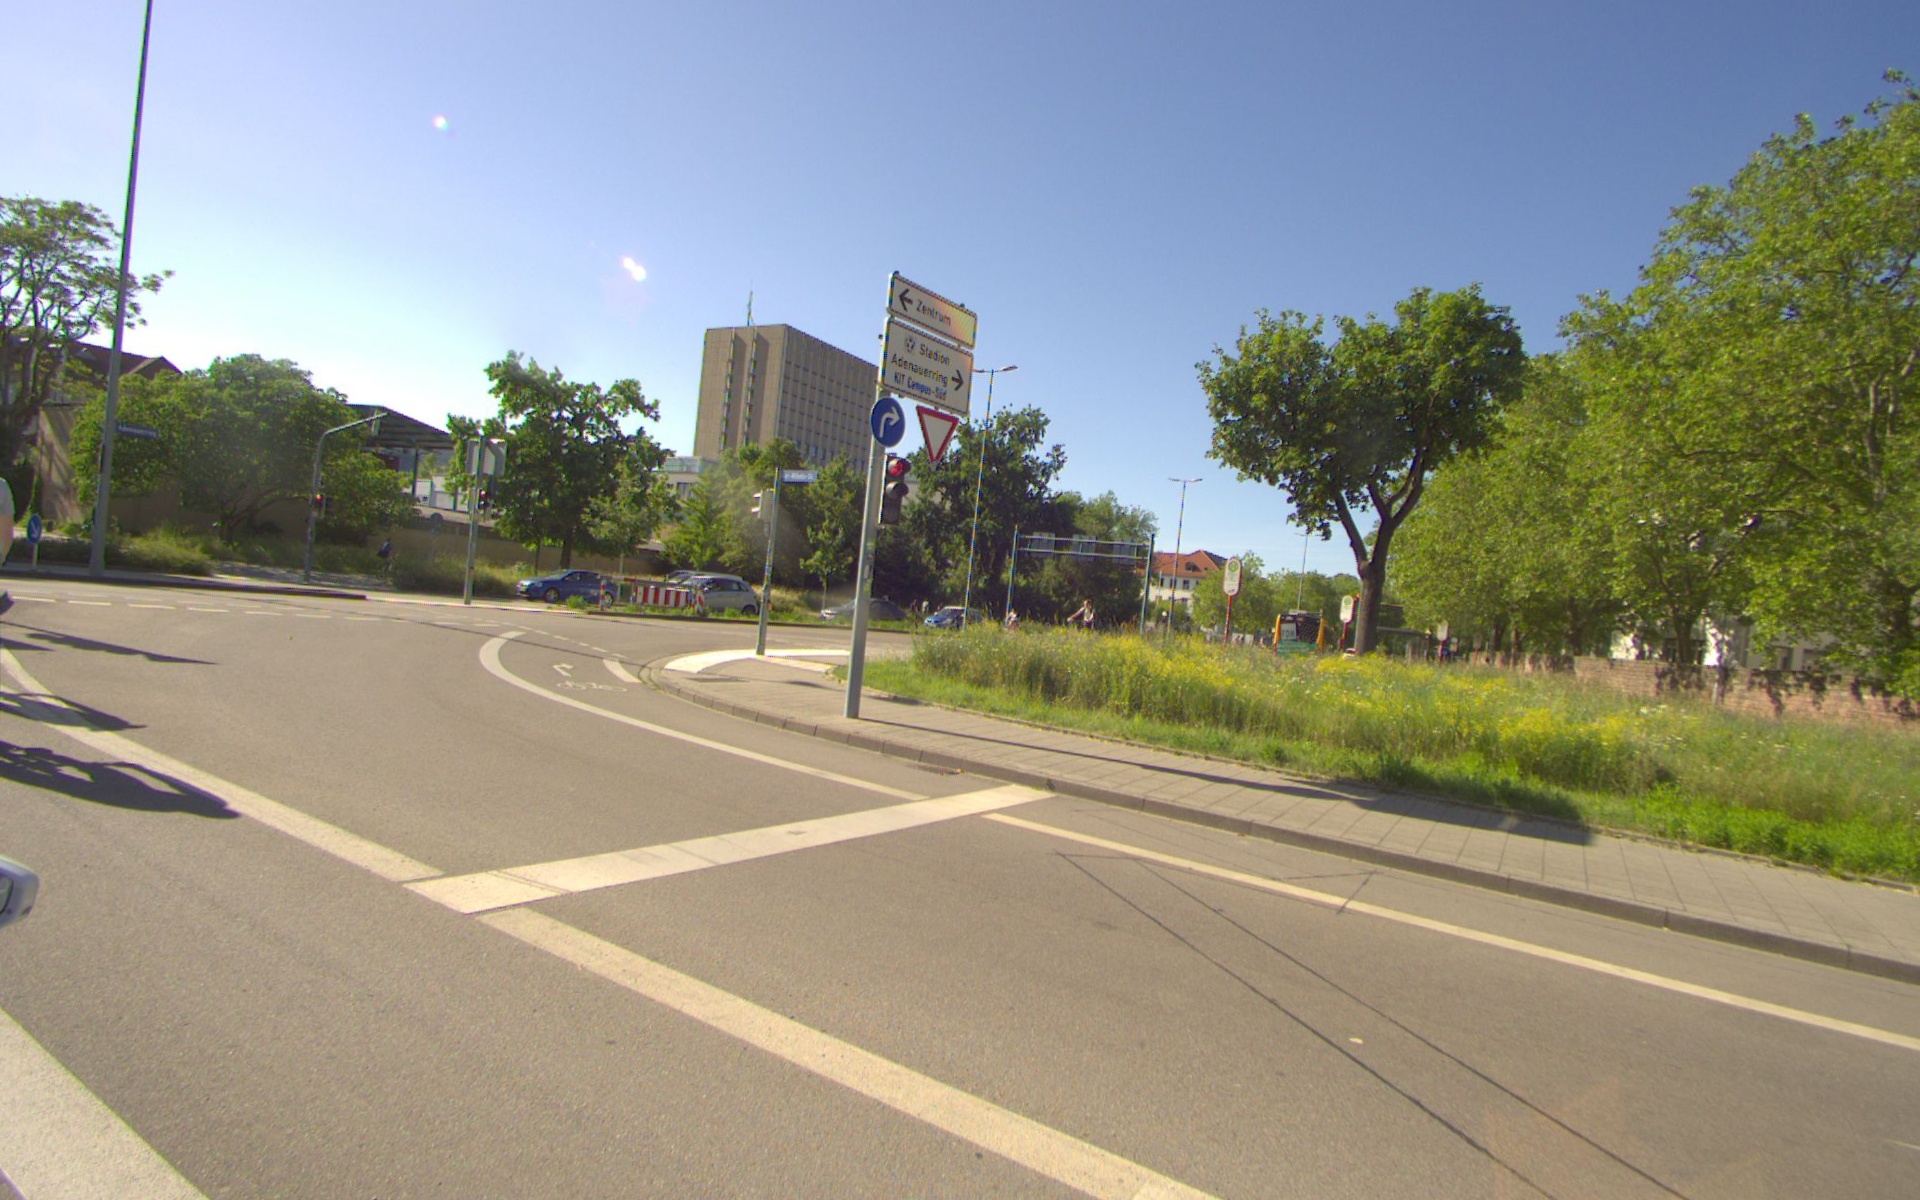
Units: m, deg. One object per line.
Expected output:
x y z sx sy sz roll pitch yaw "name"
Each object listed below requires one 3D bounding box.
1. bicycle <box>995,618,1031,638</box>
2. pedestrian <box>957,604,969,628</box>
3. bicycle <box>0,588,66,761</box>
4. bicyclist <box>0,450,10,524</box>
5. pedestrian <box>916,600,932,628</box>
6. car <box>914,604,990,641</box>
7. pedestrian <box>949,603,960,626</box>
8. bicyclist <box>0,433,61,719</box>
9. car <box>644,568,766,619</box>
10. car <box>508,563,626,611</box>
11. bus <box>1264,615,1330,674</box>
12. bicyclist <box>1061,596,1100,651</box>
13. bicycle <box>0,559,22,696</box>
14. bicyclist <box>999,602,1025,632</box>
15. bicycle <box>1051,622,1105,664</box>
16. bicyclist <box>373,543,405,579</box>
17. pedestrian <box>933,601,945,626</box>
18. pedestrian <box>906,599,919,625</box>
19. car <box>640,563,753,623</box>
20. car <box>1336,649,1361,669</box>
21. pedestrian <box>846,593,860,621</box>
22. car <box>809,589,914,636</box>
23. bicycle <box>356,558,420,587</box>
3.189 1.678 60.221 0.778 1.032 2.630 7 0 36 "bicycle"
0.200 1.222 77.148 0.519 1.801 0.561 7 1 35 "pedestrian"
-6.286 0.359 6.093 1.946 0.906 0.741 6 -2 33 "bicycle"
-8.128 -0.367 7.782 1.048 1.759 0.647 7 -1 26 "bicyclist"
-2.564 1.009 71.623 0.702 1.872 0.561 7 1 35 "pedestrian"
-0.378 1.139 50.374 1.758 1.448 3.989 6 0 34 "car"
-0.422 1.133 77.667 0.519 1.716 0.561 7 1 35 "pedestrian"
-6.212 -0.199 6.093 1.000 1.688 0.752 6 -1 33 "bicyclist"
-9.421 -0.208 37.432 1.840 1.426 4.046 6 0 38 "car"
-16.082 -0.510 41.342 1.717 1.453 4.162 7 0 38 "car"
19.841 2.727 58.820 2.745 2.662 10.119 7 -2 22 "bus"
3.232 0.633 26.935 0.509 1.368 1.002 7 1 32 "bicyclist"
-8.194 0.094 7.777 1.935 1.014 0.661 6 -1 26 "bicycle"
3.127 1.013 60.083 0.778 1.649 1.315 7 1 37 "bicyclist"
3.184 1.157 26.954 0.509 1.007 2.056 7 0 32 "bicycle"
-23.202 -1.564 40.888 0.685 1.333 0.825 9 3 35 "bicyclist"
-1.561 1.010 75.482 0.519 1.801 0.561 7 1 35 "pedestrian"
-3.413 0.867 72.813 0.519 1.801 0.561 7 1 35 "pedestrian"
-12.301 -0.270 47.333 1.968 2.131 4.885 6 -2 34 "car"
33.586 5.103 86.920 1.669 1.525 3.772 6 0 24 "car"
-7.143 0.458 67.214 0.519 1.801 0.561 7 1 34 "pedestrian"
-4.299 0.584 44.712 1.968 1.604 4.735 6 0 34 "car"
-23.266 -1.102 40.952 0.685 0.942 2.080 9 2 36 "bicycle"
